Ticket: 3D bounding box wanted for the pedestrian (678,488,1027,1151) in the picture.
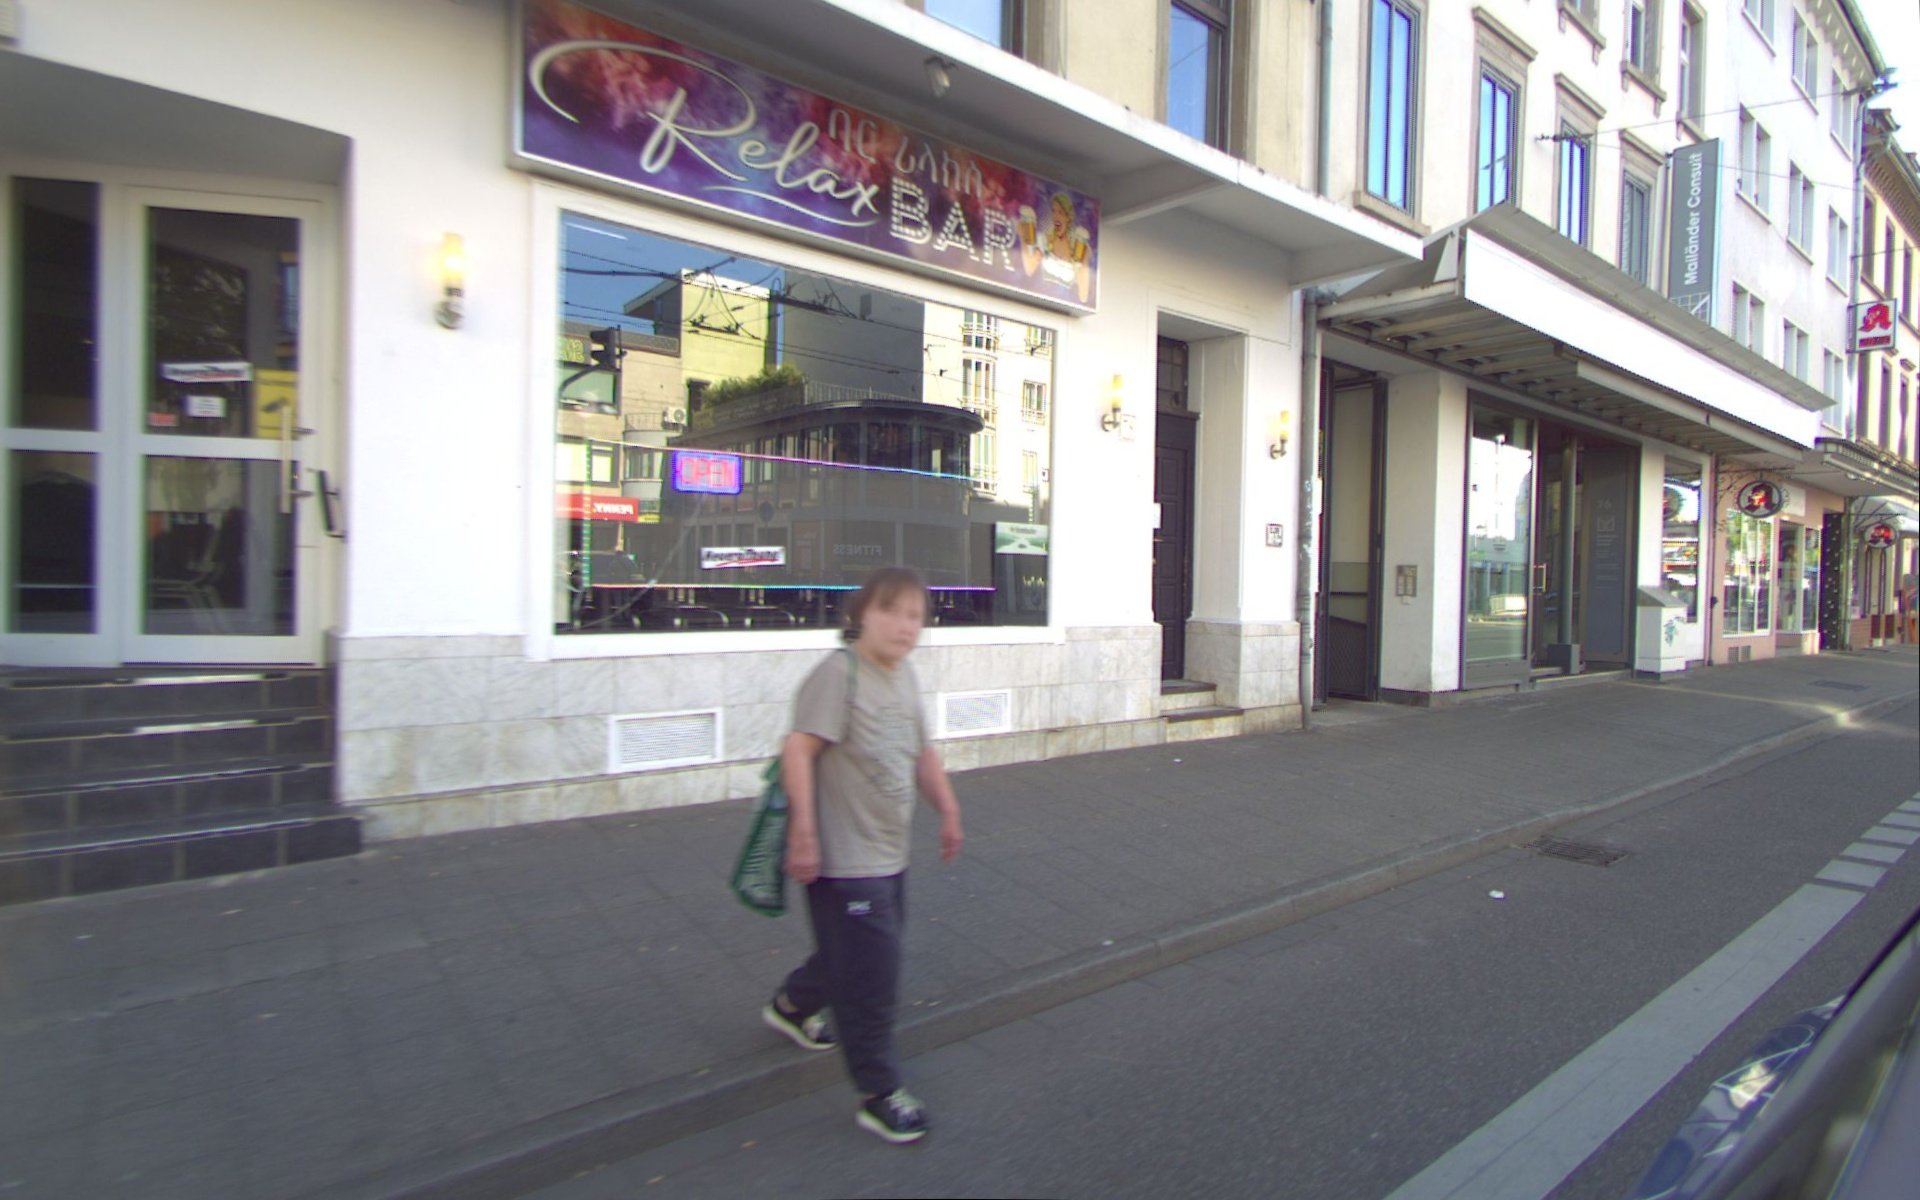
[{"bbox_3d":[-0.319,0.512,2.909,0.779,1.580,0.640,2,1,44],"label":"pedestrian"}]
